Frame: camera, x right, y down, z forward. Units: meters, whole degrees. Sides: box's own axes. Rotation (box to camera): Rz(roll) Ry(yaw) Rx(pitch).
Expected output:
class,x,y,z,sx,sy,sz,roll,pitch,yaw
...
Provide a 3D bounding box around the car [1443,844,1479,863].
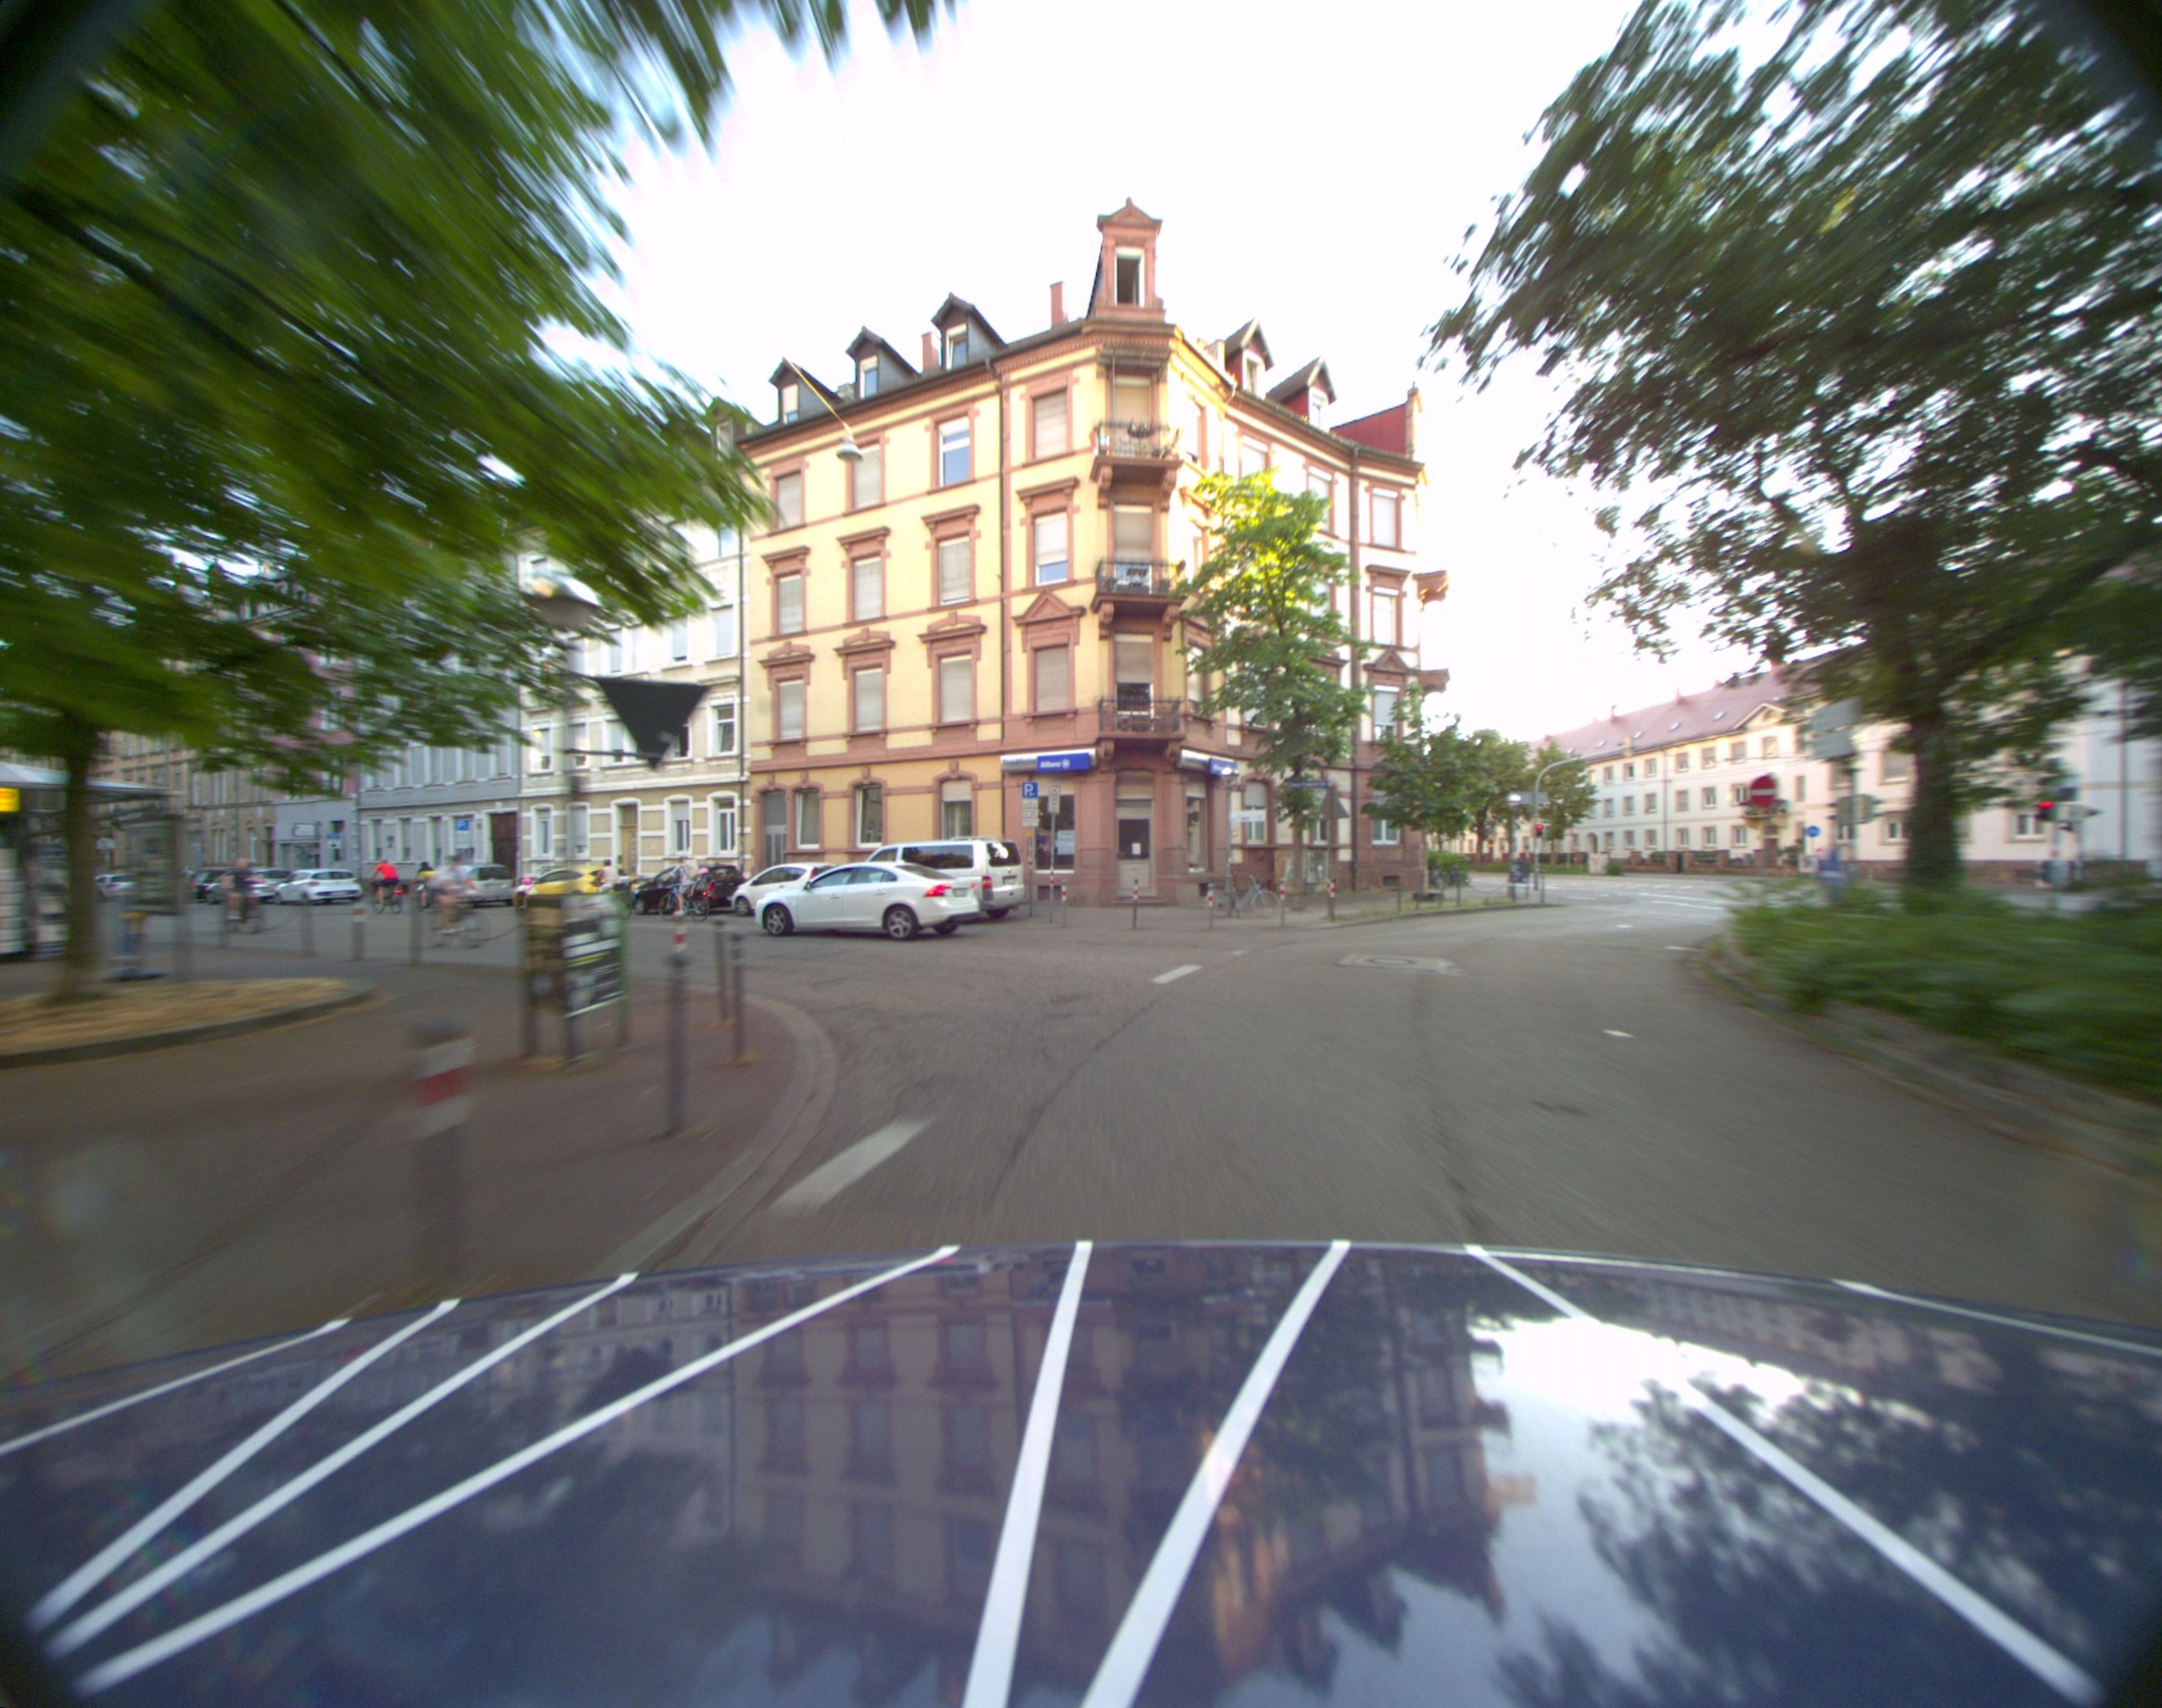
class,x,y,z,sx,sy,sz,roll,pitch,yaw
car,38.600,-0.087,77.321,1.908,1.839,4.001,0,0,3

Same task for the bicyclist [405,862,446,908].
class,x,y,z,sx,sy,sz,roll,pitch,yaw
bicyclist,-22.043,1.027,25.558,0.865,1.517,0.717,-1,1,23

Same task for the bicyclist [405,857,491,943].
class,x,y,z,sx,sy,sz,roll,pitch,yaw
bicyclist,-11.409,0.808,13.710,0.971,1.503,0.687,-1,0,10

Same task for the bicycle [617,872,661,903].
class,x,y,z,sx,sy,sz,roll,pitch,yaw
bicycle,-16.581,1.249,28.498,1.859,1.133,0.482,-1,0,26

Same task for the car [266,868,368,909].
class,x,y,z,sx,sy,sz,roll,pitch,yaw
car,-32.332,1.436,32.166,3.917,1.567,1.761,-1,2,25

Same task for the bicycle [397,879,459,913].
class,x,y,z,sx,sy,sz,roll,pitch,yaw
bicycle,-21.929,1.397,25.517,2.009,1.101,0.724,-1,0,23

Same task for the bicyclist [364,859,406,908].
class,x,y,z,sx,sy,sz,roll,pitch,yaw
bicyclist,-22.073,0.933,24.106,0.865,1.517,0.655,-1,1,23

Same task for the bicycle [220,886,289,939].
class,x,y,z,sx,sy,sz,roll,pitch,yaw
bicycle,-19.317,1.343,17.750,2.109,1.145,0.688,-1,0,32

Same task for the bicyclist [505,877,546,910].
class,x,y,z,sx,sy,sz,roll,pitch,yaw
bicyclist,-16.533,1.167,22.608,0.729,0.971,0.649,-1,0,16

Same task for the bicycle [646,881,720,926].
class,x,y,z,sx,sy,sz,roll,pitch,yaw
bicycle,-10.246,1.252,19.539,1.804,1.088,0.686,-1,0,23

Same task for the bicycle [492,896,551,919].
class,x,y,z,sx,sy,sz,roll,pitch,yaw
bicycle,-16.669,1.579,22.652,1.461,0.639,0.652,-1,0,16

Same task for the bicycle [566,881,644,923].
class,x,y,z,sx,sy,sz,roll,pitch,yaw
bicycle,-13.186,1.305,21.041,2.043,1.088,0.730,-1,0,22

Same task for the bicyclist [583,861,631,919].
class,x,y,z,sx,sy,sz,roll,pitch,yaw
bicyclist,-13.110,0.980,21.006,0.873,1.574,0.727,-1,0,22

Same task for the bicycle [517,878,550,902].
class,x,y,z,sx,sy,sz,roll,pitch,yaw
bicycle,-22.795,1.494,31.628,1.462,0.970,0.402,-1,-3,23

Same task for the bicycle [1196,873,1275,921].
class,x,y,z,sx,sy,sz,roll,pitch,yaw
bicycle,3.651,1.010,17.958,1.795,1.077,0.561,-1,2,12

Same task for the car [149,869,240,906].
class,x,y,z,sx,sy,sz,roll,pitch,yaw
car,-42.768,1.605,36.649,4.047,1.584,1.761,-1,2,25

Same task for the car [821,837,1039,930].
class,x,y,z,sx,sy,sz,roll,pitch,yaw
car,-3.763,0.669,18.808,4.992,2.045,2.050,-1,2,26

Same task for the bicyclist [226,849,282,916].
class,x,y,z,sx,sy,sz,roll,pitch,yaw
bicyclist,-19.296,0.656,17.724,0.970,1.503,0.688,-1,1,32

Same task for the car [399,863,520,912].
class,x,y,z,sx,sy,sz,roll,pitch,yaw
car,-22.604,1.178,27.626,4.134,1.584,1.808,-1,2,27

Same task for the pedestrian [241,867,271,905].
class,x,y,z,sx,sy,sz,roll,pitch,yaw
pedestrian,-43.277,1.669,39.866,0.831,1.937,0.854,-1,0,29

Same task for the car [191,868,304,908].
class,x,y,z,sx,sy,sz,roll,pitch,yaw
car,-37.202,1.507,33.911,4.661,1.584,1.841,-1,2,23

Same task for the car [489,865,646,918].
class,x,y,z,sx,sy,sz,roll,pitch,yaw
car,-16.797,1.194,24.855,4.790,1.517,1.847,-1,2,23

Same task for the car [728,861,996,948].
class,x,y,z,sx,sy,sz,roll,pitch,yaw
car,-4.337,0.928,15.157,4.830,1.508,2.003,-1,0,19

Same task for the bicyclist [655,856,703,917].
class,x,y,z,sx,sy,sz,roll,pitch,yaw
bicyclist,-10.344,0.823,19.577,0.873,1.536,0.680,0,0,24

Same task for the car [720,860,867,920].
class,x,y,z,sx,sy,sz,roll,pitch,yaw
car,-8.007,0.964,21.172,3.605,1.483,1.692,-1,2,23

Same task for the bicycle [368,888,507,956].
class,x,y,z,sx,sy,sz,roll,pitch,yaw
bicycle,-11.628,1.225,13.753,2.112,1.145,0.687,-1,0,9

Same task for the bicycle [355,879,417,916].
class,x,y,z,sx,sy,sz,roll,pitch,yaw
bicycle,-22.058,1.360,24.107,2.009,1.101,0.652,-1,0,23

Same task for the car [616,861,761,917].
class,x,y,z,sx,sy,sz,roll,pitch,yaw
car,-11.619,1.017,22.513,3.734,1.483,1.737,-1,2,21
